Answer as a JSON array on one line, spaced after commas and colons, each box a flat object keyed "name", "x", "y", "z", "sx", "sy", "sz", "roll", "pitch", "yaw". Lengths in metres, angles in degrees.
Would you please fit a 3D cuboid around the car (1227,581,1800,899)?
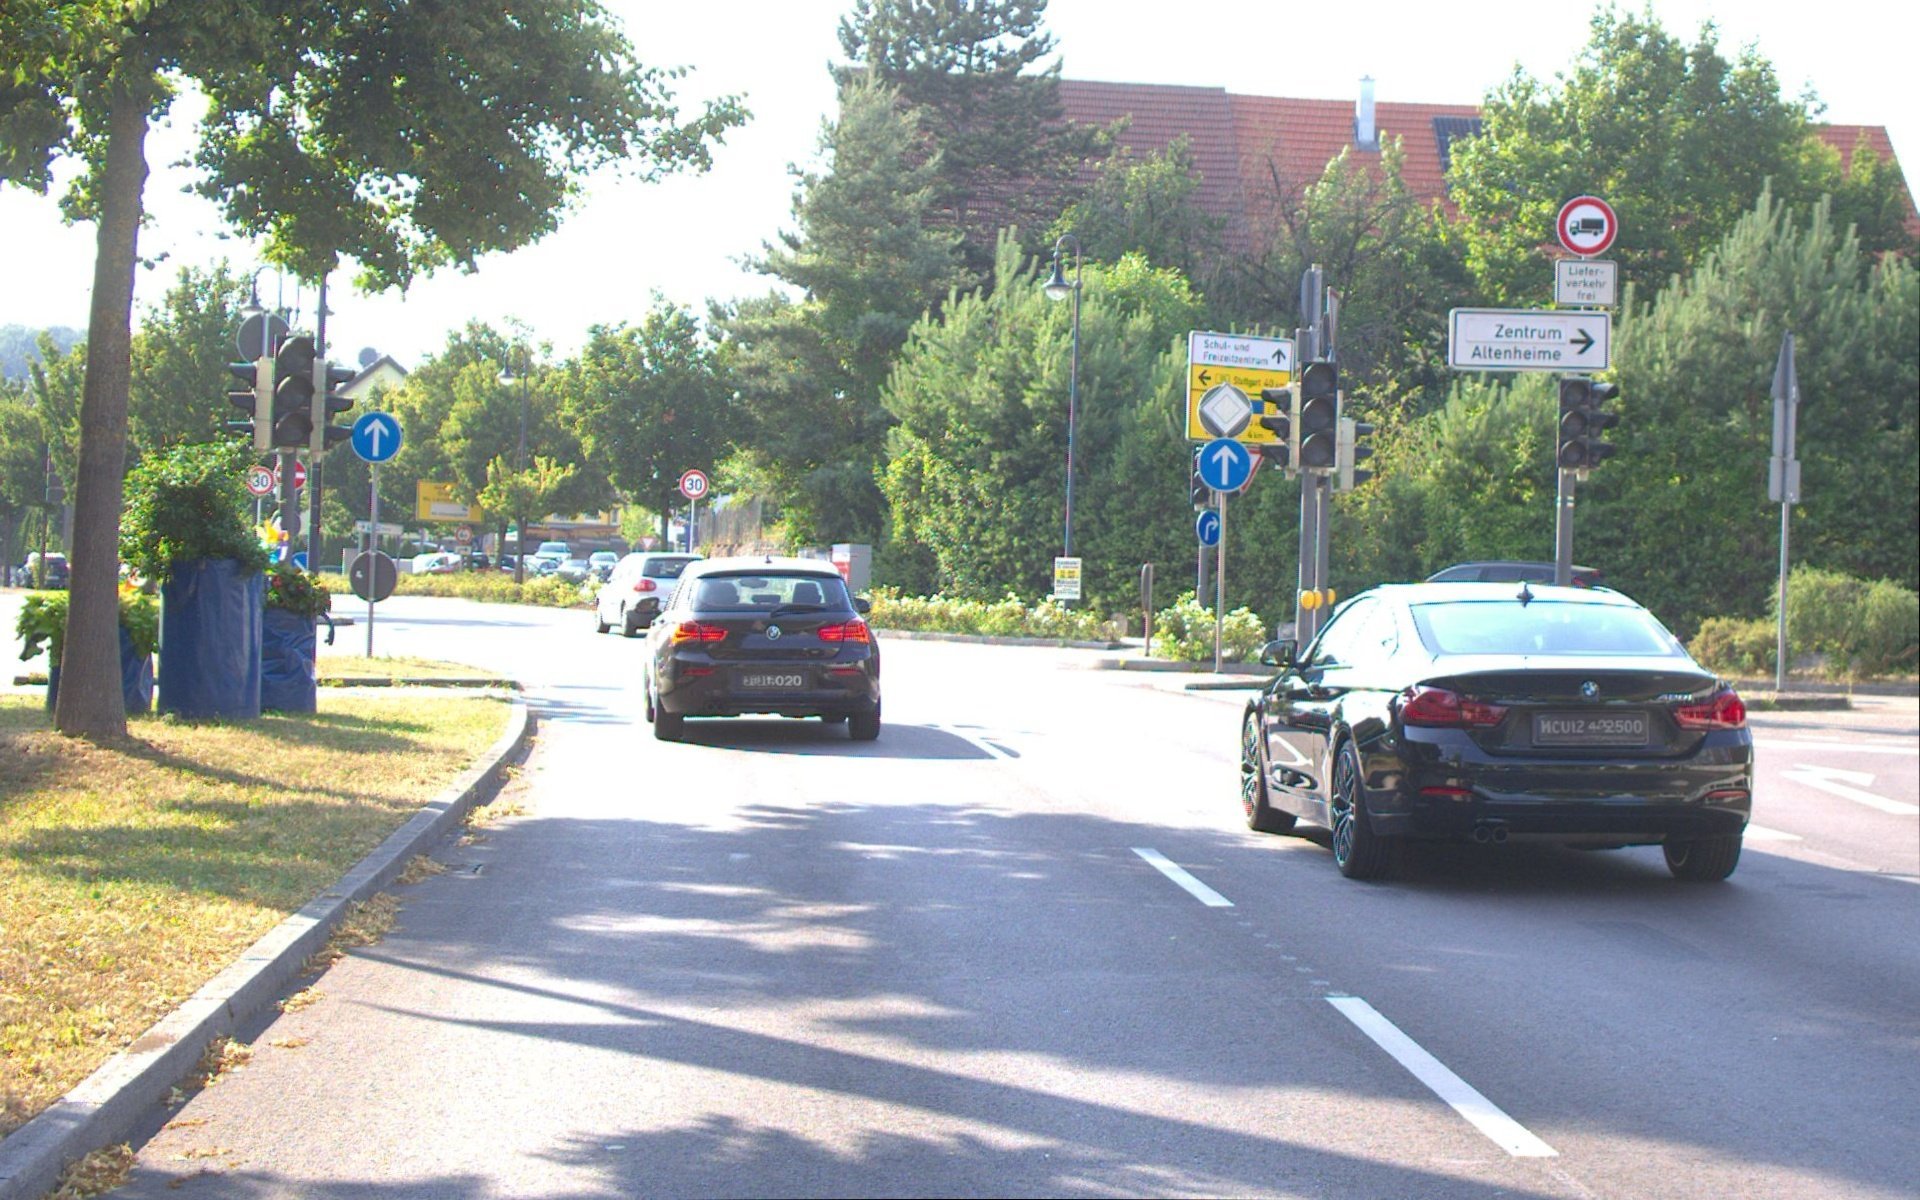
[{"name": "car", "x": 2.567, "y": 0.596, "z": 17.055, "sx": 1.920, "sy": 1.359, "sz": 4.353, "roll": 1, "pitch": 0, "yaw": -3}]

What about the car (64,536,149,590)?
[{"name": "car", "x": -29.128, "y": -1.277, "z": 117.201, "sx": 2.216, "sy": 1.763, "sz": 4.455, "roll": 1, "pitch": 1, "yaw": -22}]

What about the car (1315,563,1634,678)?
[{"name": "car", "x": 7.577, "y": 0.274, "z": 50.694, "sx": 4.264, "sy": 1.561, "sz": 1.789, "roll": 2, "pitch": 1, "yaw": 31}]

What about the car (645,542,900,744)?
[{"name": "car", "x": -1.463, "y": 0.309, "z": 28.322, "sx": 1.721, "sy": 1.485, "sz": 4.353, "roll": 1, "pitch": 0, "yaw": 1}]

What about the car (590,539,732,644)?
[{"name": "car", "x": -5.301, "y": -0.174, "z": 60.484, "sx": 1.924, "sy": 1.763, "sz": 4.455, "roll": 1, "pitch": 1, "yaw": -12}]
